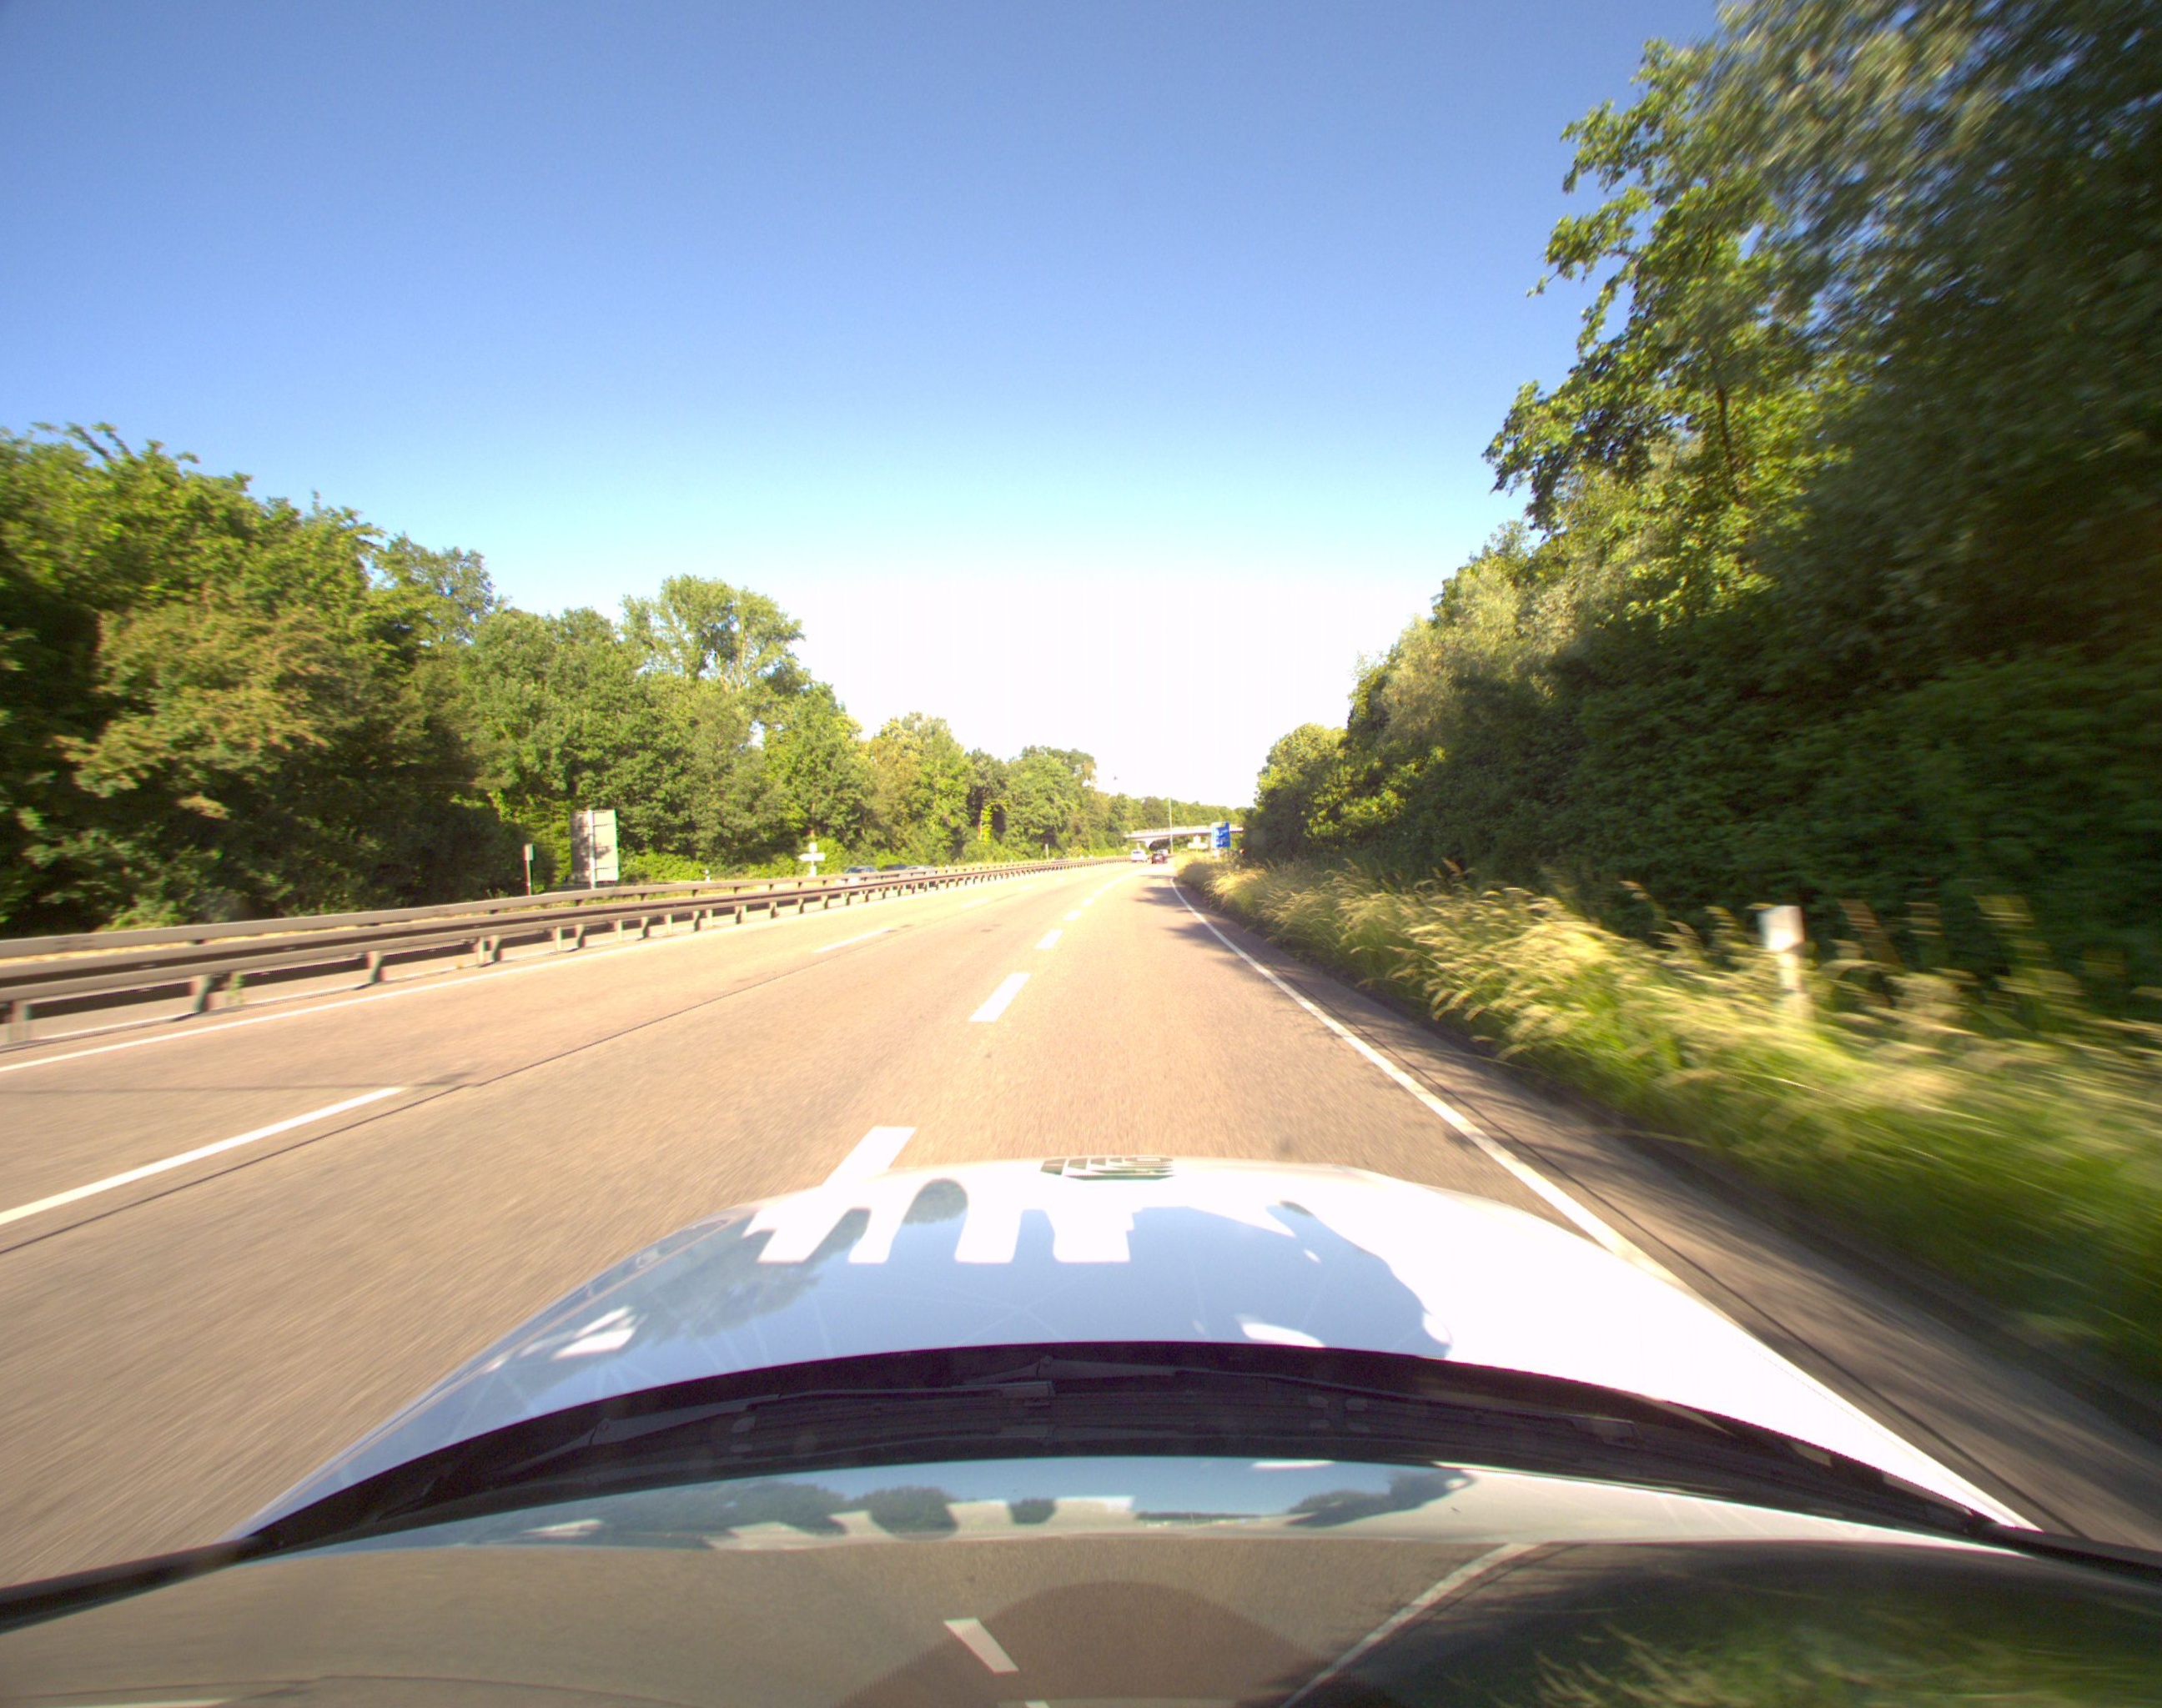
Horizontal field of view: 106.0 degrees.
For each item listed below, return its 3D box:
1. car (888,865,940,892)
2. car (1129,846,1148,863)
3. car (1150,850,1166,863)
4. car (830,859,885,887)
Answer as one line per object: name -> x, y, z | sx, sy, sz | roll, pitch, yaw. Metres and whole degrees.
car -> -10.570, 1.519, 51.941 | 1.983, 1.513, 4.430 | -1, 0, 6
car -> 8.218, 0.049, 116.011 | 1.980, 2.277, 4.014 | -2, 0, 13
car -> 10.121, 0.318, 106.886 | 1.728, 1.662, 3.957 | -2, 0, 11
car -> -14.788, 1.220, 54.119 | 1.983, 1.649, 4.430 | -2, 0, 6
